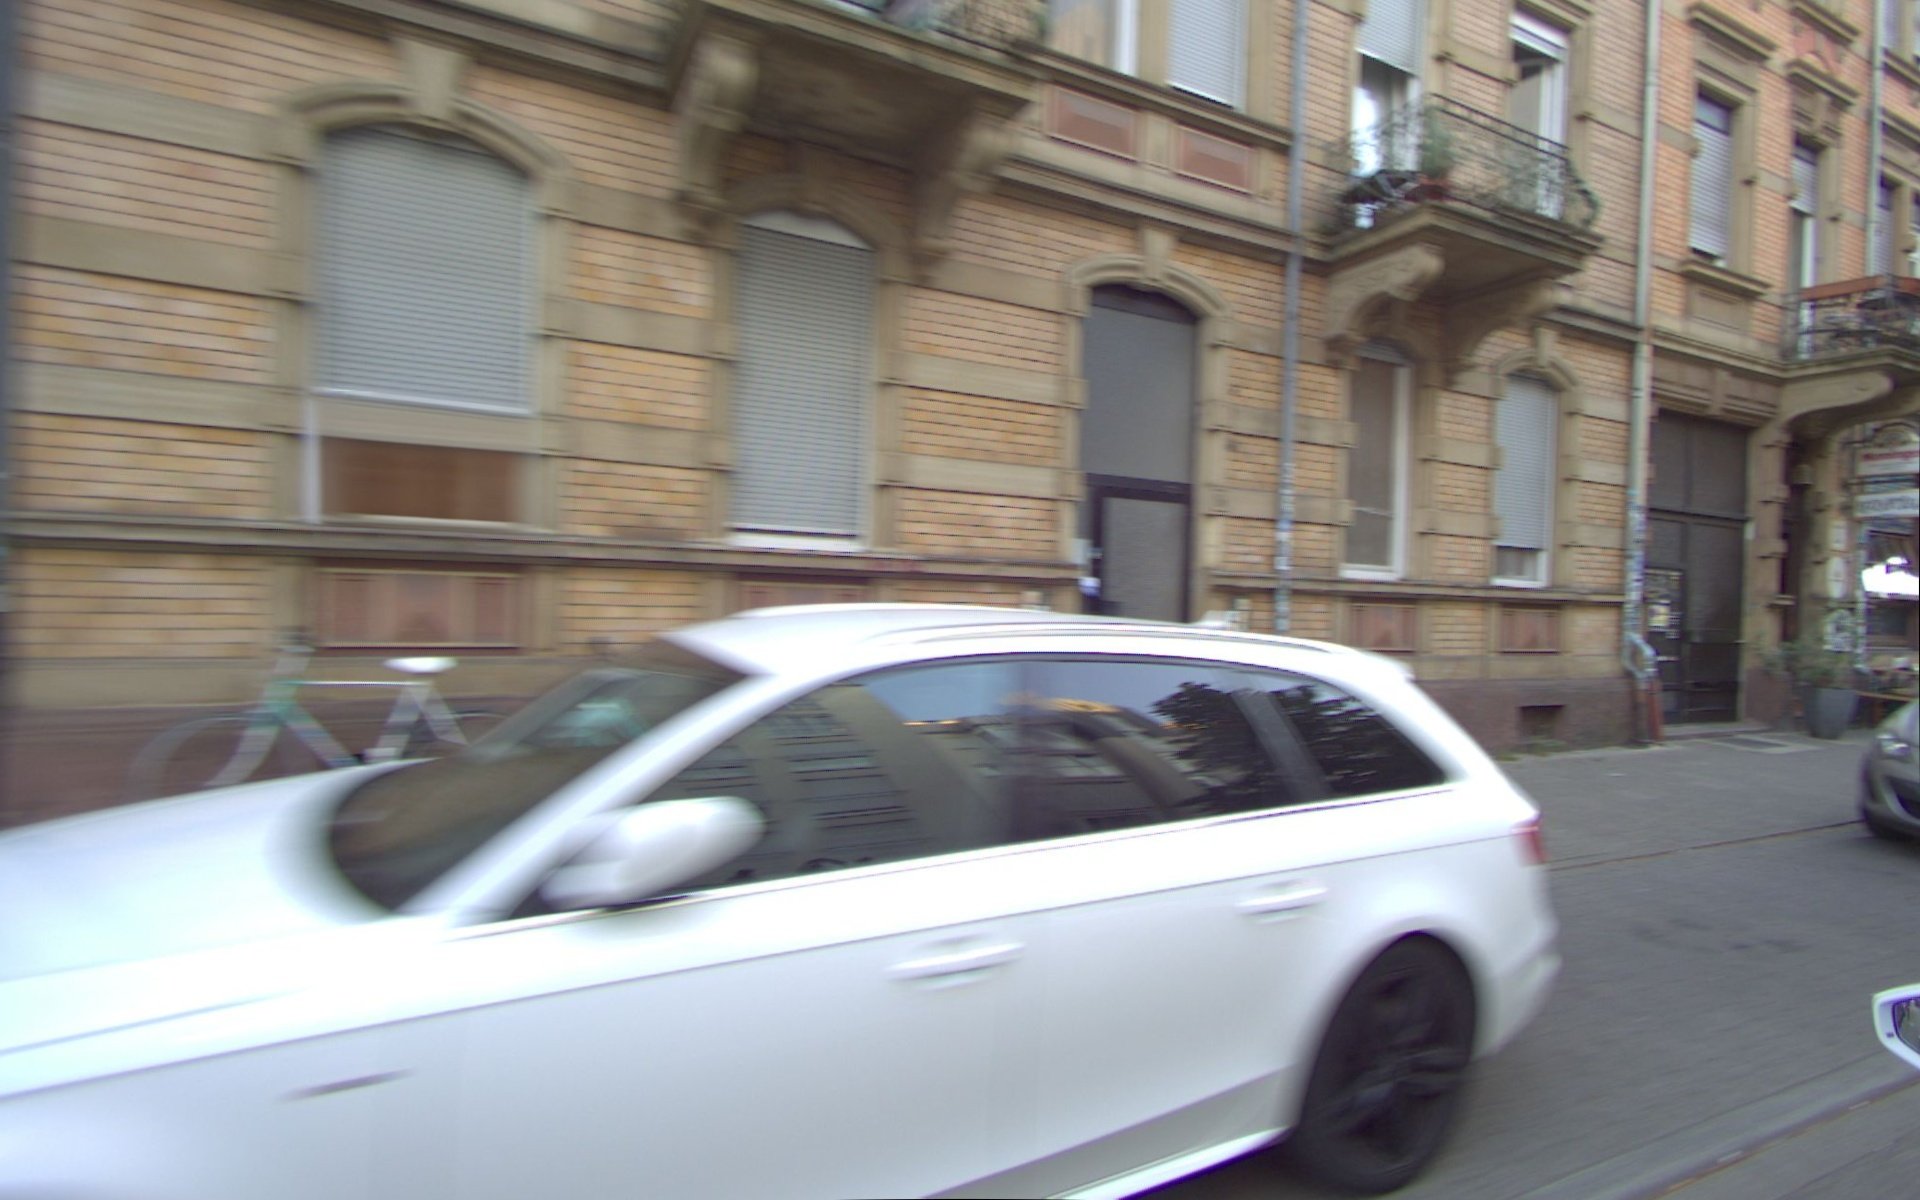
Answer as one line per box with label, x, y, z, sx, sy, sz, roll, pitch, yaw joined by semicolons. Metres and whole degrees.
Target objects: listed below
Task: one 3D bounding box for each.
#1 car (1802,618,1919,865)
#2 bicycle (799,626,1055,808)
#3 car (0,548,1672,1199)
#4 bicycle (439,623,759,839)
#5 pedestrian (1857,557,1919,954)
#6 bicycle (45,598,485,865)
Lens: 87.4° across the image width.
car;7.780;0.938;6.795;3.947;1.477;1.711;1;2;-26
bicycle;-0.188;0.709;6.592;1.608;1.041;0.588;1;1;-35
car;-0.322;0.651;2.667;4.451;1.431;1.751;1;1;-28
bicycle;-1.992;0.673;5.604;1.604;1.050;0.563;1;1;-28
pedestrian;4.831;0.721;4.614;1.006;1.779;0.554;3;0;-16
bicycle;-3.317;0.588;4.978;1.709;1.147;0.513;1;1;-28
